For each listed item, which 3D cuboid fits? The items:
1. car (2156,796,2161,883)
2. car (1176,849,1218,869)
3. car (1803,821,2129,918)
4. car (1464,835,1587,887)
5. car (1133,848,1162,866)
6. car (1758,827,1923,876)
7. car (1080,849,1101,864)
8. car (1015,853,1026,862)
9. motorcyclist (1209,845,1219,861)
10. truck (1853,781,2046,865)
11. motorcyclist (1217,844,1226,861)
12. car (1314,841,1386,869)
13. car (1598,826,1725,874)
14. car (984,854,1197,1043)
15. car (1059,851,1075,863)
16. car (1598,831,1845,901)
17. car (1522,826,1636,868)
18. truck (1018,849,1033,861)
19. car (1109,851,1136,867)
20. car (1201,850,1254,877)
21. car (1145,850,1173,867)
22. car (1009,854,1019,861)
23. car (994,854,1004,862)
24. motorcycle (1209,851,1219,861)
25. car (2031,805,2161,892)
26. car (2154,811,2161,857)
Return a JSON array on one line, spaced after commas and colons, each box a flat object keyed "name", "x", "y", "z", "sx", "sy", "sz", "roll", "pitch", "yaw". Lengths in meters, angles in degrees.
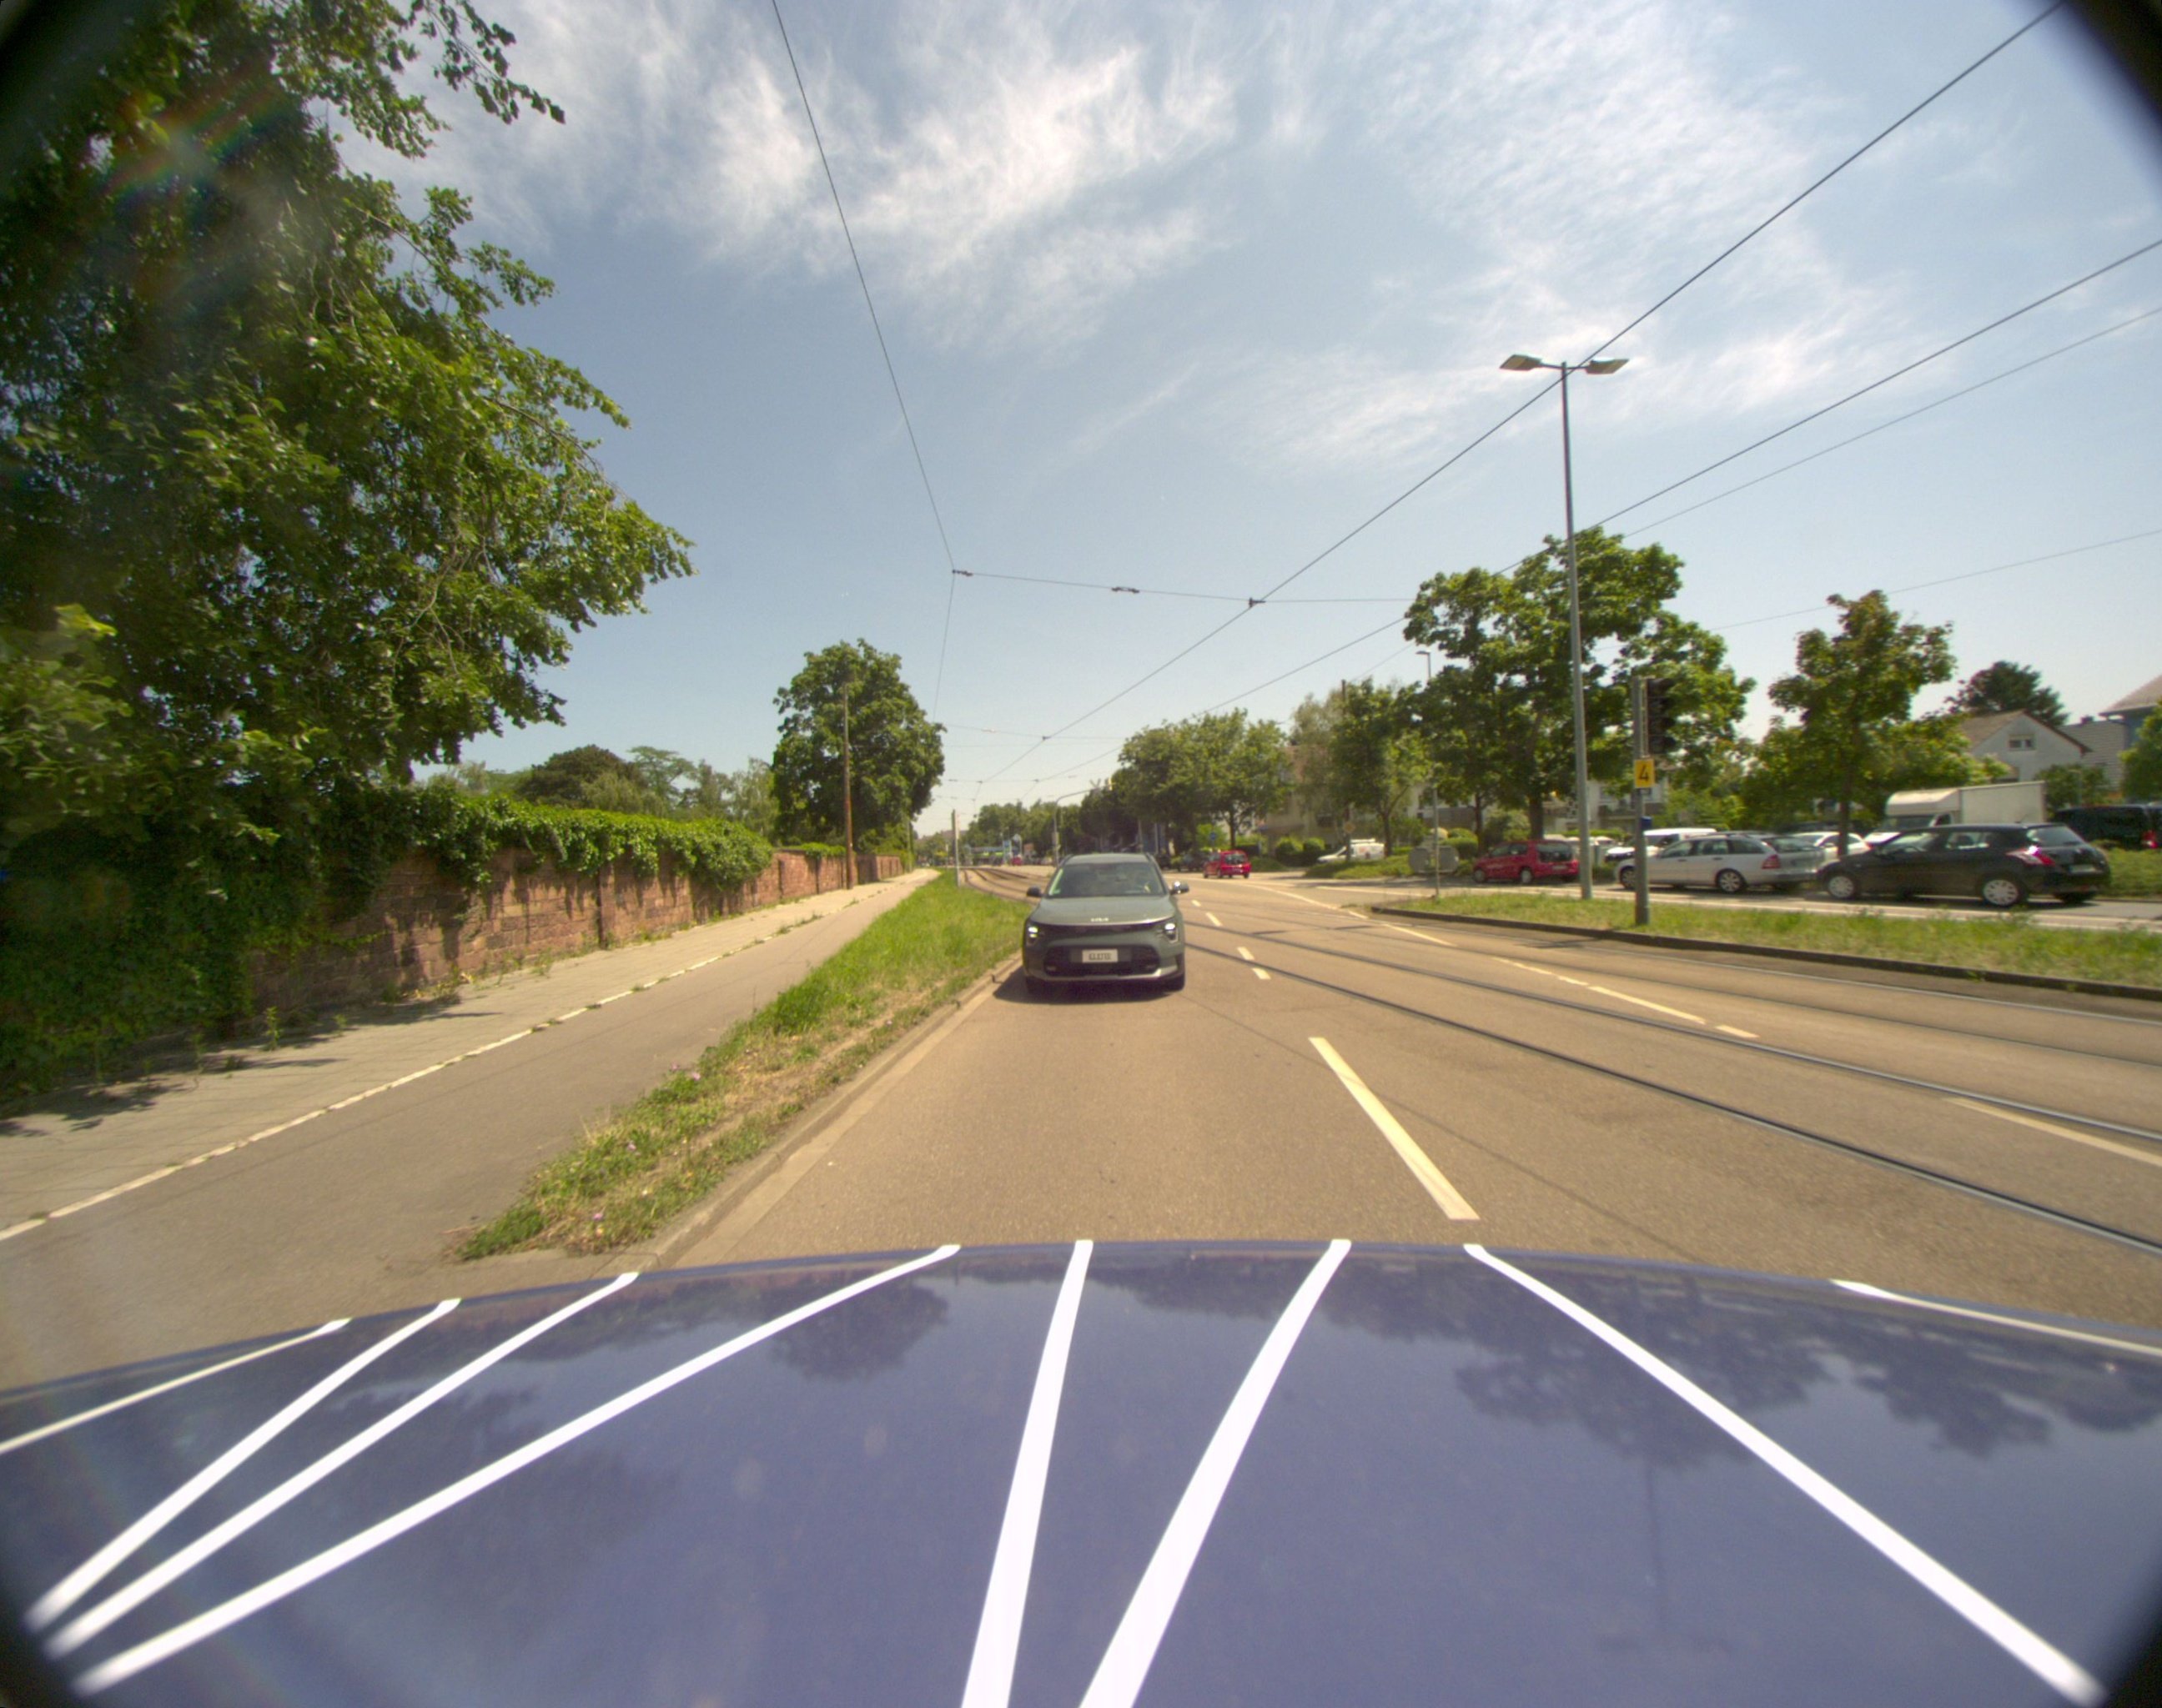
[{"name": "car", "x": 17.352, "y": 0.021, "z": 9.094, "sx": 1.868, "sy": 1.926, "sz": 4.802, "roll": -6, "pitch": 1, "yaw": -6}, {"name": "car", "x": 9.510, "y": 0.428, "z": 62.693, "sx": 1.900, "sy": 1.448, "sz": 4.805, "roll": -4, "pitch": 1, "yaw": -11}, {"name": "car", "x": 16.681, "y": 0.251, "z": 14.643, "sx": 1.619, "sy": 1.476, "sz": 3.782, "roll": -6, "pitch": 1, "yaw": -6}, {"name": "car", "x": 14.978, "y": 0.199, "z": 25.830, "sx": 1.677, "sy": 1.537, "sz": 3.724, "roll": -4, "pitch": 1, "yaw": -6}, {"name": "car", "x": 6.911, "y": 0.336, "z": 79.697, "sx": 1.977, "sy": 1.679, "sz": 4.684, "roll": -4, "pitch": 1, "yaw": -7}, {"name": "car", "x": 26.569, "y": -0.085, "z": 26.657, "sx": 4.135, "sy": 1.499, "sz": 1.931, "roll": -2, "pitch": 0, "yaw": -7}, {"name": "car", "x": 1.017, "y": 0.242, "z": 83.624, "sx": 1.743, "sy": 1.566, "sz": 3.710, "roll": -2, "pitch": 0, "yaw": -9}, {"name": "car", "x": -12.586, "y": 0.712, "z": 157.341, "sx": 1.905, "sy": 1.915, "sz": 4.815, "roll": 0, "pitch": 0, "yaw": -10}, {"name": "motorcyclist", "x": 12.837, "y": -0.135, "z": 73.344, "sx": 0.588, "sy": 1.494, "sz": 0.724, "roll": -5, "pitch": 1, "yaw": -8}, {"name": "truck", "x": 37.416, "y": -1.310, "z": 32.772, "sx": 7.000, "sy": 3.209, "sz": 2.149, "roll": -3, "pitch": 1, "yaw": -10}, {"name": "motorcyclist", "x": 13.114, "y": -0.139, "z": 70.991, "sx": 0.588, "sy": 1.494, "sz": 0.662, "roll": -5, "pitch": 1, "yaw": -8}, {"name": "car", "x": 17.794, "y": 0.063, "z": 50.405, "sx": 4.230, "sy": 1.697, "sz": 1.742, "roll": -2, "pitch": 1, "yaw": 8}, {"name": "car", "x": 24.397, "y": -0.180, "z": 31.989, "sx": 4.280, "sy": 1.825, "sz": 1.672, "roll": -2, "pitch": 1, "yaw": -8}, {"name": "car", "x": 0.403, "y": 0.880, "z": 9.084, "sx": 1.757, "sy": 1.574, "sz": 4.430, "roll": -3, "pitch": 1, "yaw": 10}, {"name": "car", "x": -2.010, "y": 0.477, "z": 108.683, "sx": 1.743, "sy": 1.647, "sz": 4.063, "roll": -2, "pitch": 0, "yaw": -9}, {"name": "car", "x": 16.116, "y": 0.279, "z": 19.527, "sx": 1.724, "sy": 1.419, "sz": 4.766, "roll": -6, "pitch": 1, "yaw": -10}, {"name": "car", "x": 24.367, "y": -0.351, "z": 37.263, "sx": 4.463, "sy": 1.846, "sz": 2.059, "roll": -2, "pitch": 0, "yaw": -10}, {"name": "truck", "x": -13.209, "y": 0.167, "z": 179.777, "sx": 2.136, "sy": 2.566, "sz": 4.857, "roll": -6, "pitch": 1, "yaw": -18}, {"name": "car", "x": 3.734, "y": 0.415, "z": 68.683, "sx": 1.654, "sy": 1.368, "sz": 3.808, "roll": 0, "pitch": 1, "yaw": -9}, {"name": "car", "x": 7.829, "y": 0.489, "z": 41.010, "sx": 1.663, "sy": 1.402, "sz": 3.603, "roll": -1, "pitch": 0, "yaw": -9}, {"name": "car", "x": 7.606, "y": 0.443, "z": 74.297, "sx": 1.681, "sy": 1.478, "sz": 4.124, "roll": -4, "pitch": 1, "yaw": -9}, {"name": "car", "x": -16.853, "y": 0.951, "z": 190.890, "sx": 1.867, "sy": 1.487, "sz": 3.465, "roll": -6, "pitch": 1, "yaw": -18}, {"name": "car", "x": -19.781, "y": 0.902, "z": 183.169, "sx": 1.925, "sy": 1.899, "sz": 4.567, "roll": -1, "pitch": 0, "yaw": -9}, {"name": "motorcycle", "x": 12.852, "y": 0.192, "z": 73.456, "sx": 0.527, "sy": 0.821, "sz": 1.370, "roll": -5, "pitch": 1, "yaw": -8}, {"name": "car", "x": 26.335, "y": -0.198, "z": 18.709, "sx": 4.224, "sy": 1.983, "sz": 1.855, "roll": -2, "pitch": 1, "yaw": -10}, {"name": "car", "x": 38.978, "y": -0.770, "z": 25.629, "sx": 3.759, "sy": 1.566, "sz": 1.731, "roll": -3, "pitch": 1, "yaw": -9}]
